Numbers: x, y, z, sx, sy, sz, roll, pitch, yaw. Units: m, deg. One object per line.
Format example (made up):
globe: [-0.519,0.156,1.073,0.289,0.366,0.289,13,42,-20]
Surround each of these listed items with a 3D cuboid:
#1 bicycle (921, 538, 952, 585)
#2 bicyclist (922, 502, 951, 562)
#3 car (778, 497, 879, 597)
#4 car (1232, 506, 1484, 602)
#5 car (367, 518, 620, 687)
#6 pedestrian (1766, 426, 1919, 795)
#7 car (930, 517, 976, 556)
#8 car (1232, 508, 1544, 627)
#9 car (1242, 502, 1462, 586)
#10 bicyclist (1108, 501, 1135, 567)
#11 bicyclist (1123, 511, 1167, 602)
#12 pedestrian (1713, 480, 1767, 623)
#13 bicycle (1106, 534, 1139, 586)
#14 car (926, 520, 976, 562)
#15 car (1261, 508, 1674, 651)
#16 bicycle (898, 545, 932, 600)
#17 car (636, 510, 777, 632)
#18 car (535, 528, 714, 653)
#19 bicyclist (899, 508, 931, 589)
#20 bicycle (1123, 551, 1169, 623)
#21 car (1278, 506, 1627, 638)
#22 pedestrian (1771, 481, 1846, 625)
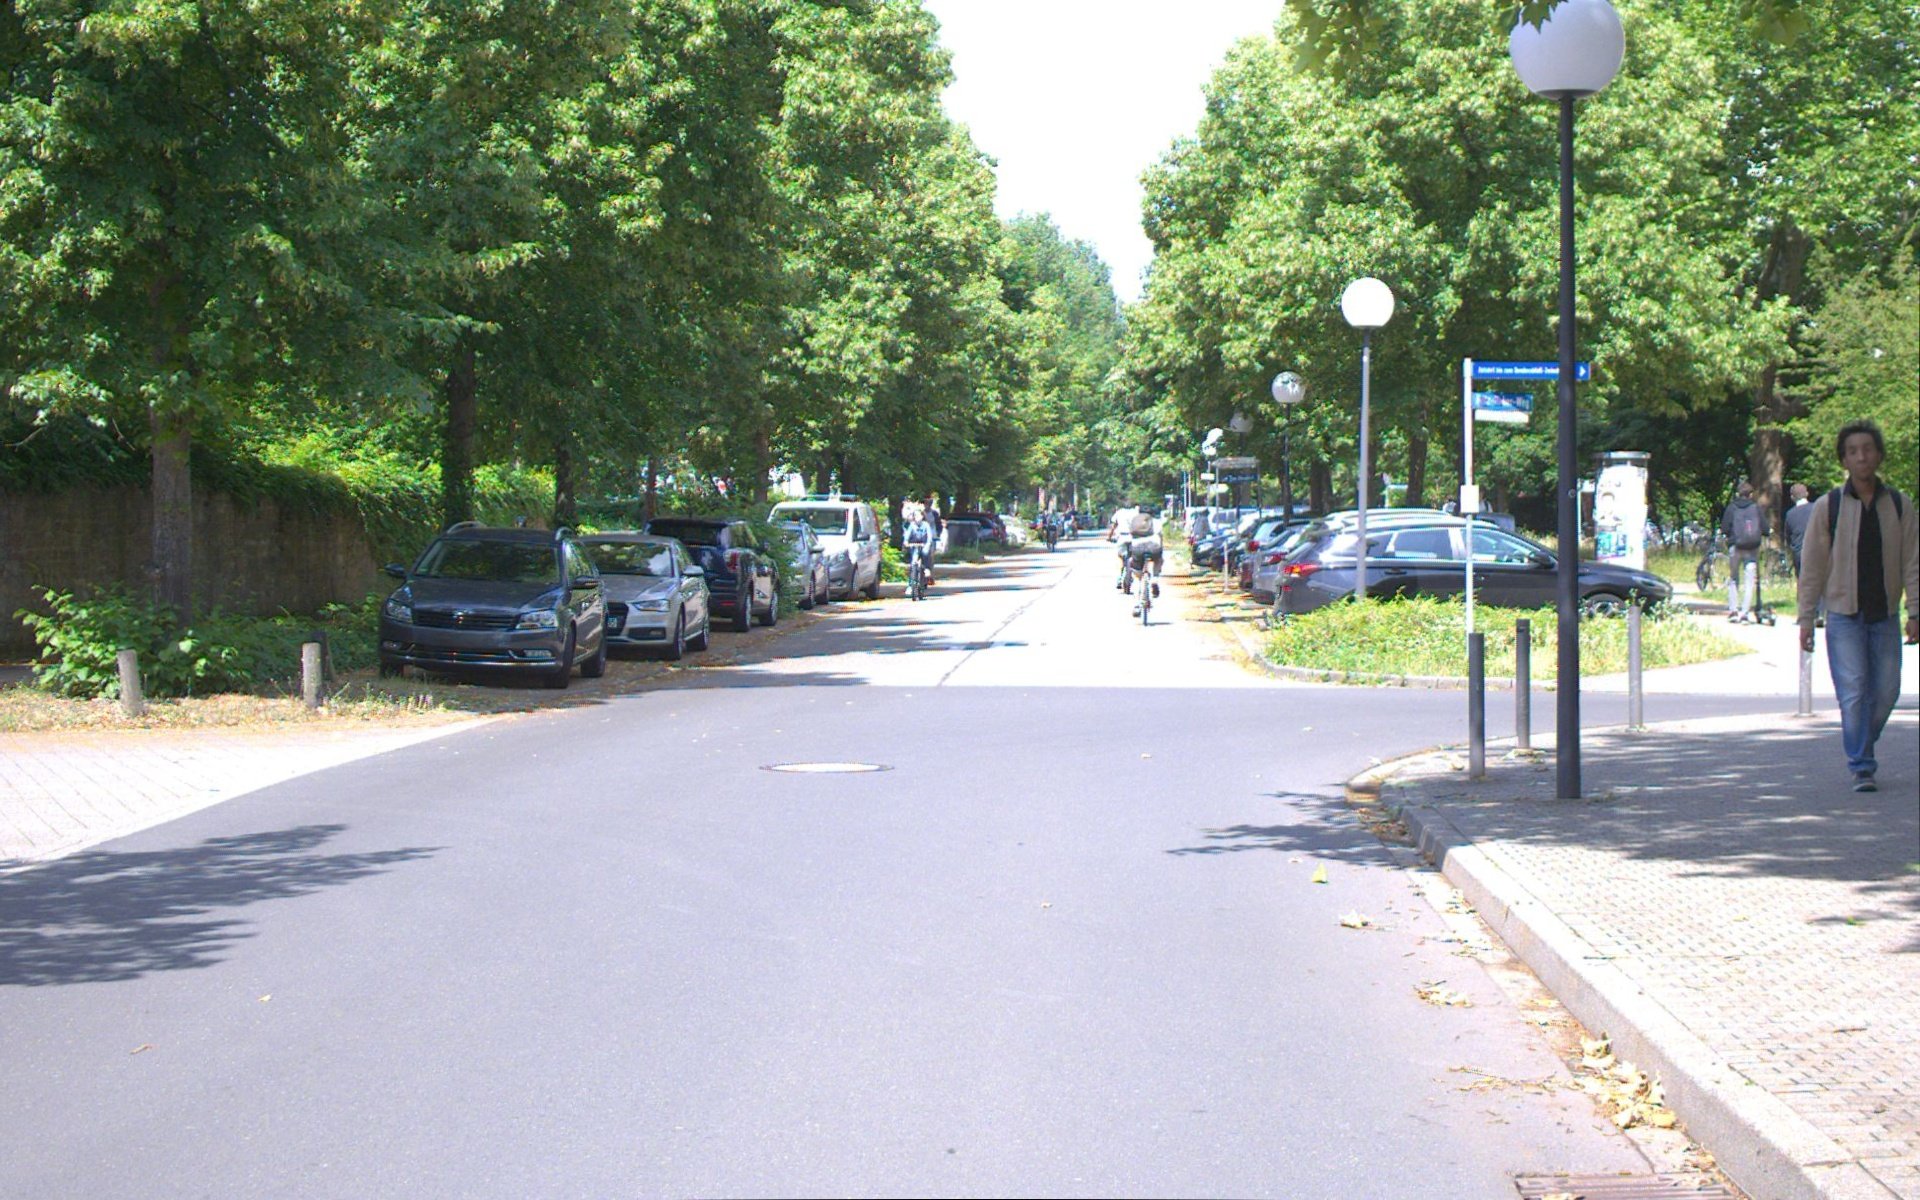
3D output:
bicycle: [-0.502,-0.827,73.983,0.614,0.997,1.423,0,1,2]
bicyclist: [-0.499,-1.469,73.908,0.608,1.291,0.611,0,1,2]
car: [-2.436,-1.013,64.481,1.616,1.809,4.000,0,1,2]
car: [6.966,-0.814,60.459,4.257,1.582,1.919,-1,1,3]
car: [-4.392,-0.023,32.910,1.760,1.516,4.111,0,1,2]
pedestrian: [4.422,0.040,16.719,0.821,1.749,0.840,0,1,2]
car: [-0.237,-2.271,122.599,1.615,1.360,4.562,0,1,0]
car: [6.053,-0.475,48.993,4.257,1.582,1.810,-1,1,3]
car: [7.859,-1.137,69.275,4.257,1.582,1.919,-1,1,3]
bicyclist: [3.156,-1.289,67.255,0.522,1.291,0.611,0,1,2]
bicyclist: [2.649,-0.625,49.174,0.609,1.291,0.611,0,1,2]
pedestrian: [9.621,-0.605,42.434,0.601,1.749,0.628,0,1,9]
bicycle: [3.184,-0.789,67.250,0.614,0.997,1.423,0,1,2]
car: [-0.286,-1.949,112.892,1.615,1.360,4.000,0,1,0]
car: [5.742,-0.250,39.292,4.486,1.520,1.810,-1,1,3]
bicycle: [-0.843,-0.516,64.203,0.577,0.997,1.423,0,1,2]
car: [-3.590,-0.446,49.211,1.616,1.673,4.000,0,1,2]
car: [-3.904,-0.149,40.533,1.616,1.383,4.000,0,1,2]
bicyclist: [-0.840,-0.962,64.148,0.563,1.493,0.827,0,1,2]
bicycle: [2.656,-0.188,49.199,0.614,0.997,1.423,0,1,2]
car: [6.280,-0.373,44.175,4.257,1.582,1.810,-1,1,3]
pedestrian: [10.383,-0.579,42.077,0.821,1.749,0.628,0,1,8]
